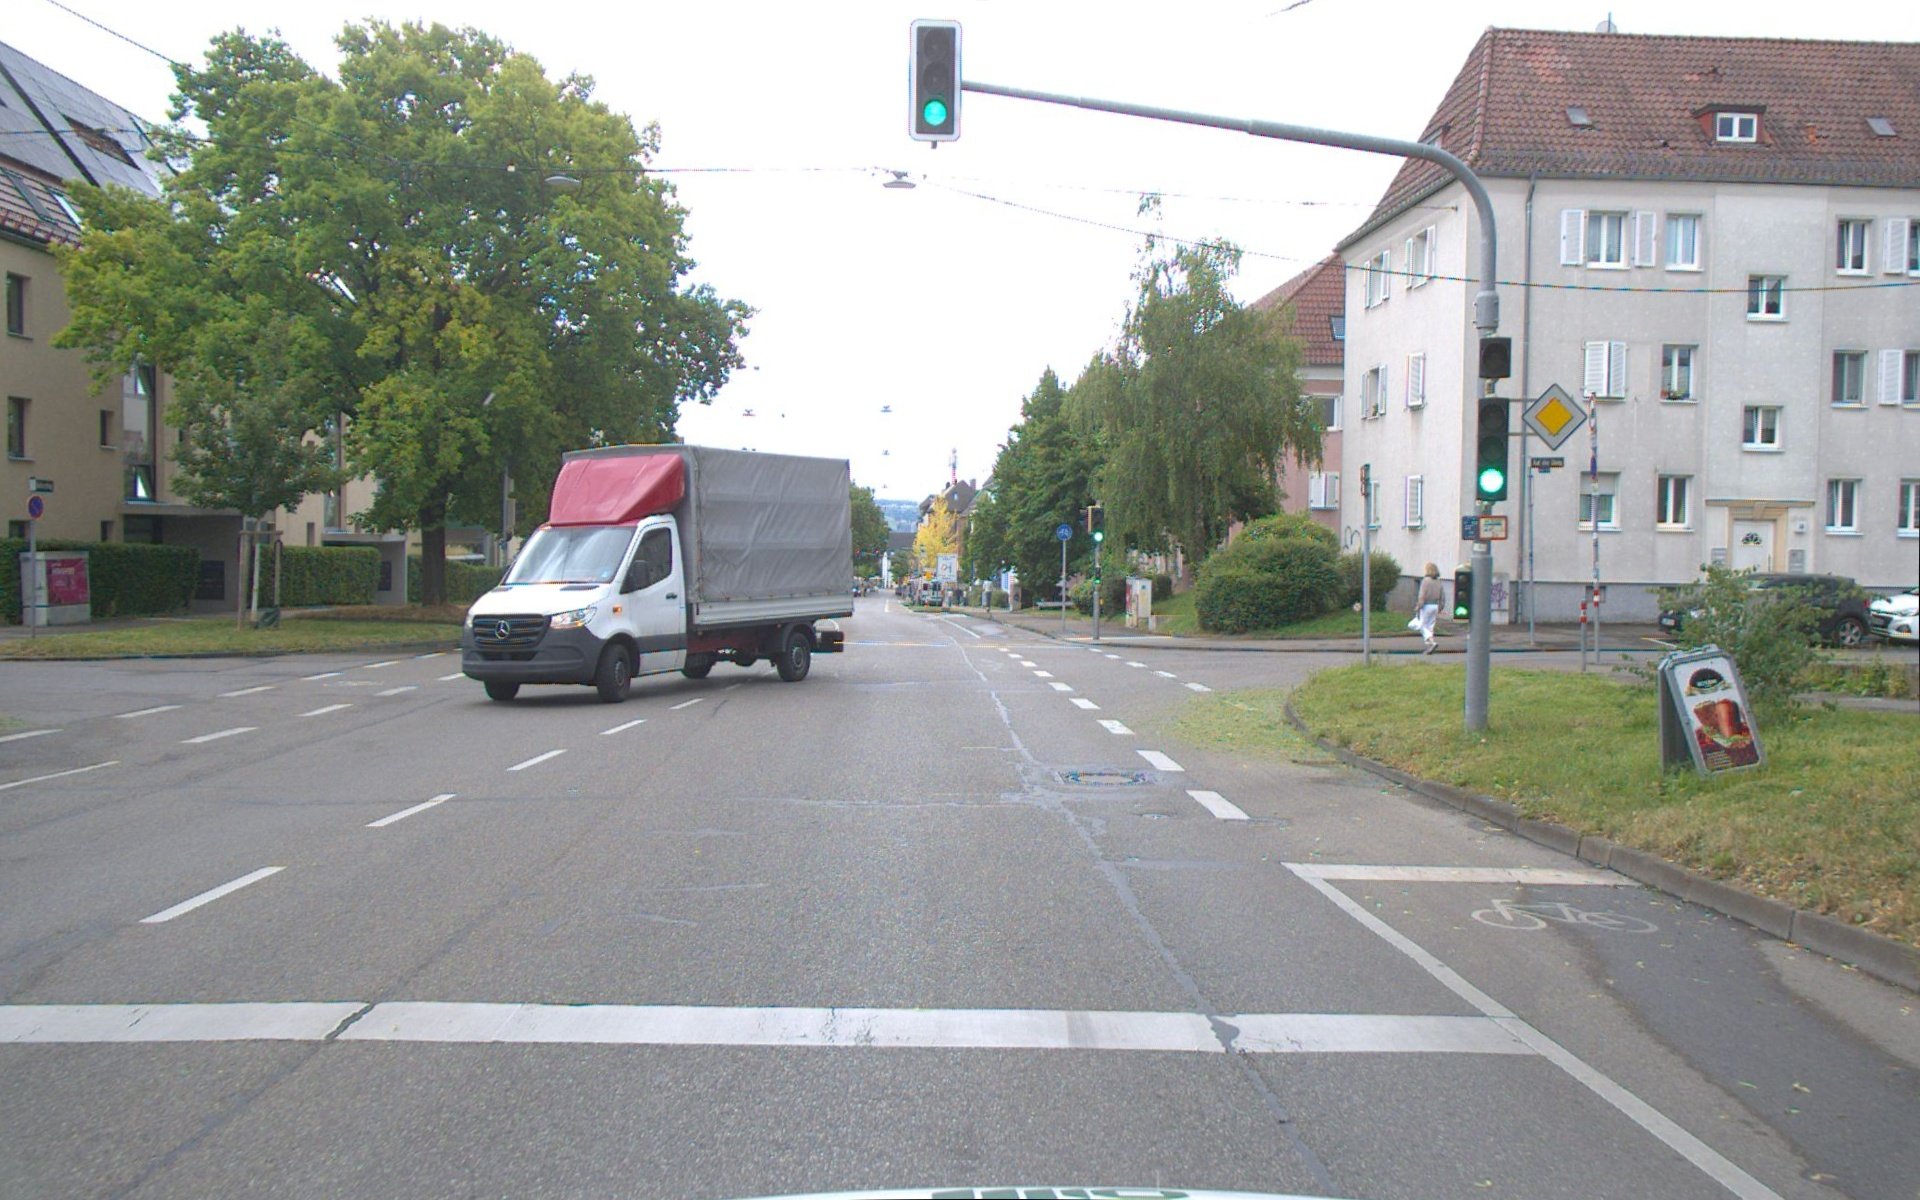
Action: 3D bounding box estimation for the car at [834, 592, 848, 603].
[{"bbox_3d":[-17.428,-0.314,241.554,1.954,1.532,3.997,1,0,-3],"label":"car"}]

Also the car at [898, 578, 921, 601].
[{"bbox_3d":[-4.955,-1.003,162.226,1.955,2.210,3.995,1,0,-6],"label":"car"}]

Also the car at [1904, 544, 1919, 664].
[{"bbox_3d":[13.059,0.082,19.016,1.833,1.498,3.995,1,0,-6],"label":"car"}]

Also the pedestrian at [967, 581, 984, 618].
[{"bbox_3d":[0.959,-0.035,100.741,0.969,2.246,0.938,1,0,1],"label":"pedestrian"}]

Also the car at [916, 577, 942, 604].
[{"bbox_3d":[-2.408,-0.716,129.393,1.953,2.049,3.999,1,0,-1],"label":"car"}]

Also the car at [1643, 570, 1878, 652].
[{"bbox_3d":[16.555,0.219,34.346,3.905,1.563,2.000,1,0,1],"label":"car"}]

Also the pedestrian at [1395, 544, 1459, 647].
[{"bbox_3d":[8.875,-0.089,31.436,0.736,1.887,0.950,-2,1,-17],"label":"pedestrian"}]

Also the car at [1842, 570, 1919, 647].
[{"bbox_3d":[21.064,0.208,34.847,3.905,1.563,2.000,1,0,1],"label":"car"}]

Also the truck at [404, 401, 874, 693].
[{"bbox_3d":[-4.049,-0.634,22.841,2.482,3.365,7.243,1,0,26],"label":"truck"}]

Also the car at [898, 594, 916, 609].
[{"bbox_3d":[-6.391,0.195,198.803,1.954,1.685,3.996,1,0,-5],"label":"car"}]

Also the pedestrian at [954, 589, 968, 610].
[{"bbox_3d":[0.104,-0.049,142.933,1.176,1.842,1.300,1,0,-1],"label":"pedestrian"}]

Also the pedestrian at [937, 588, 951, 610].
[{"bbox_3d":[-1.371,-0.082,143.580,1.175,1.842,1.301,1,0,1],"label":"pedestrian"}]

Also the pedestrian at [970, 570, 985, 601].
[{"bbox_3d":[1.229,-1.028,118.445,0.970,2.246,0.937,1,0,-4],"label":"pedestrian"}]
